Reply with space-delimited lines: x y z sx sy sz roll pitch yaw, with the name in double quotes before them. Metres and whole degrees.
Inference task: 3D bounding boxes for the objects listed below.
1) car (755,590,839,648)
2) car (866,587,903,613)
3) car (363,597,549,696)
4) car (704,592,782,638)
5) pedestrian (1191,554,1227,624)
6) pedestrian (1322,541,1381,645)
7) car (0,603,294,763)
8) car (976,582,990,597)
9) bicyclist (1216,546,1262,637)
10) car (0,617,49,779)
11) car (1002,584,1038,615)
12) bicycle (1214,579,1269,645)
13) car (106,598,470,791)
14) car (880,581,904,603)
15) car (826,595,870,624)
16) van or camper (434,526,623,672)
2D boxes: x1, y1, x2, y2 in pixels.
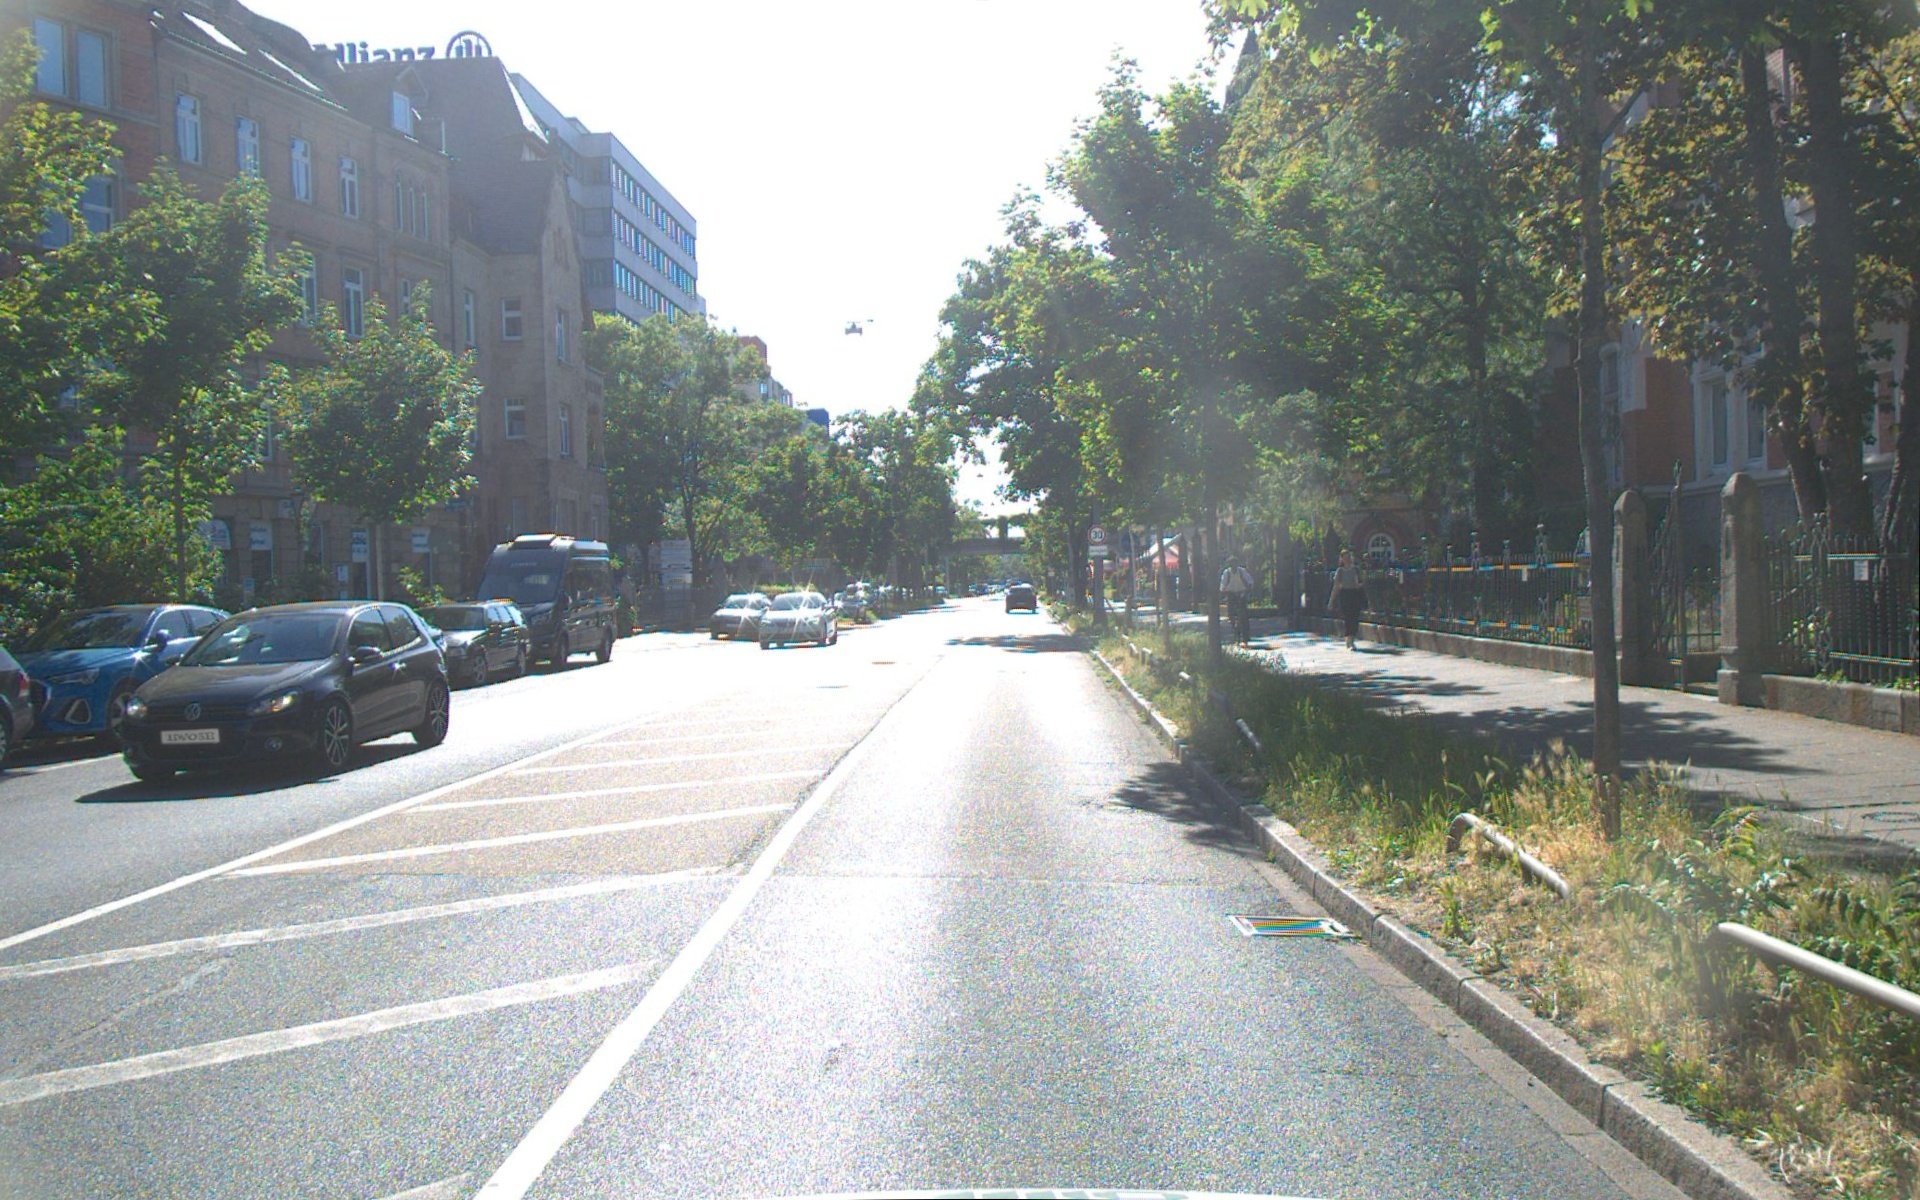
"car" -4.348 0.483 44.708 1.879 1.444 4.225 0 1 -1
"car" -4.450 -0.013 97.889 1.676 1.484 4.074 -1 1 4
"car" -8.896 0.765 29.617 1.658 1.482 4.665 -4 1 2
"car" -7.422 0.477 57.021 1.817 1.452 4.722 2 1 3
"pedestrian" 6.775 -0.298 44.901 0.732 1.818 0.811 -5 0 16
"pedestrian" 6.625 -0.118 28.007 0.680 1.687 0.820 -5 0 1
"car" -9.748 0.879 19.421 1.743 1.565 4.561 -1 1 3
"car" 3.246 -1.477 232.707 1.818 1.856 4.611 -4 1 1
"bicyclist" 5.485 -0.174 32.520 0.608 1.719 0.820 -5 1 -2
"car" -9.751 0.959 14.122 1.558 1.508 4.271 -3 0 -1
"car" 3.401 -0.050 94.305 1.944 1.628 4.141 -1 1 1
"bicycle" 5.522 0.213 32.509 0.603 1.196 1.918 -5 1 -2
"car" -6.111 0.769 15.591 1.559 1.475 4.134 -2 1 2
"car" -5.982 -0.698 146.233 1.817 1.882 4.563 -1 1 1
"car" -5.786 0.497 86.127 1.652 1.407 4.194 -1 1 5
"van or camper" -9.101 -0.060 35.532 2.170 2.787 6.090 -2 1 2
